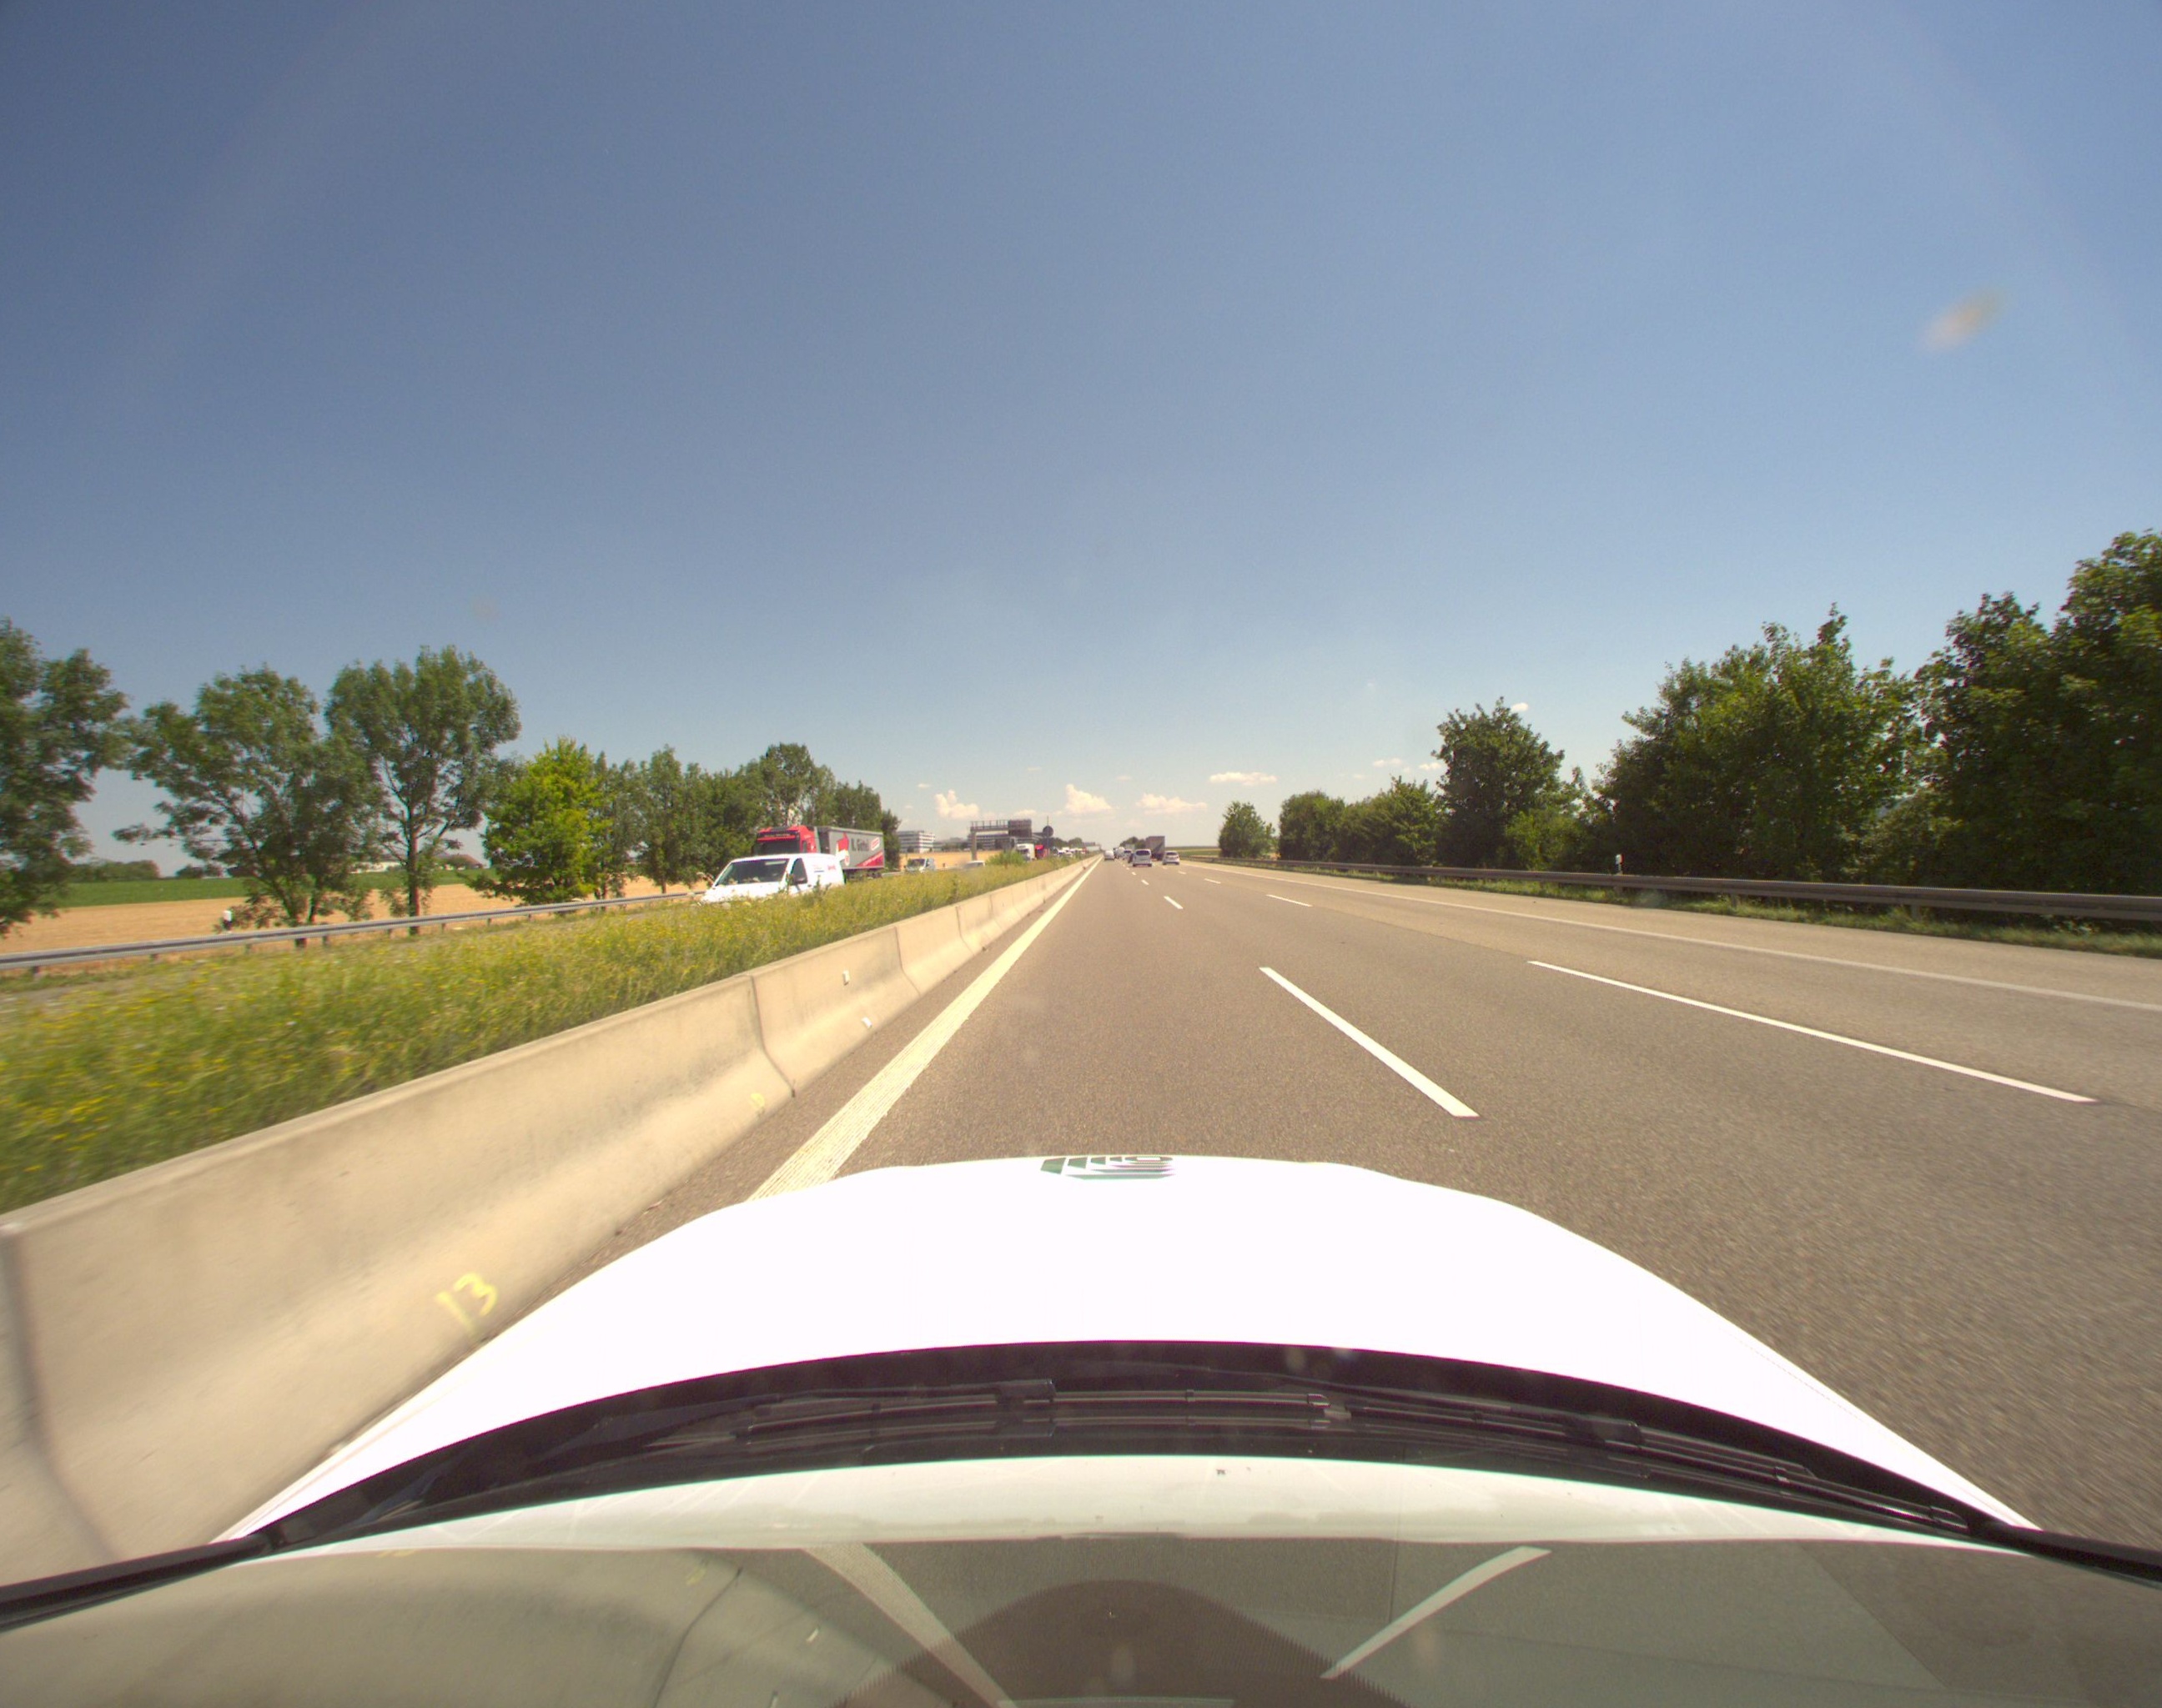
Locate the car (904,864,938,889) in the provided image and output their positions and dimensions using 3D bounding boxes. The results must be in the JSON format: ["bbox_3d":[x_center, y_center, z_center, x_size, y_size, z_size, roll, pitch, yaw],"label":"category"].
[{"bbox_3d":[-13.801,1.922,70.627,1.756,1.952,5.118,-4,0,1],"label":"car"}]

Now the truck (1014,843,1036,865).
[{"bbox_3d":[-11.358,-0.060,166.714,2.939,4.158,12.870,-3,0,1],"label":"truck"}]

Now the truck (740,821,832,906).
[{"bbox_3d":[-14.525,0.448,40.404,2.846,3.855,4.001,-3,0,1],"label":"truck"}]

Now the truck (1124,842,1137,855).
[{"bbox_3d":[15.706,-1.840,259.872,3.802,3.905,9.583,-2,0,2],"label":"truck"}]

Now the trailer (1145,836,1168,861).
[{"bbox_3d":[12.637,-0.818,136.659,3.265,3.967,9.115,-1,-1,2],"label":"trailer"}]

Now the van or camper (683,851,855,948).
[{"bbox_3d":[-7.233,0.946,19.576,1.986,1.933,5.202,-2,0,1],"label":"van or camper"}]

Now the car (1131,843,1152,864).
[{"bbox_3d":[6.465,-0.035,87.029,1.986,2.120,4.001,-1,-1,2],"label":"car"}]

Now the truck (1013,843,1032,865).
[{"bbox_3d":[-11.521,-0.032,160.439,2.939,4.158,5.472,-3,0,1],"label":"truck"}]

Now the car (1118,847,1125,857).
[{"bbox_3d":[10.547,-0.478,211.405,1.767,2.392,4.001,-1,-1,2],"label":"car"}]

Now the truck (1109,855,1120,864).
[{"bbox_3d":[7.284,1.162,177.964,2.204,2.013,4.972,-2,0,1],"label":"truck"}]

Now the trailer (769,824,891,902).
[{"bbox_3d":[-14.314,0.444,47.846,2.845,3.855,12.190,-3,0,2],"label":"trailer"}]

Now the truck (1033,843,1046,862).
[{"bbox_3d":[-10.344,-0.329,202.532,2.766,4.598,4.724,-2,0,1],"label":"truck"}]

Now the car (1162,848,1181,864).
[{"bbox_3d":[10.771,0.307,97.270,1.986,1.794,4.001,-1,-1,2],"label":"car"}]

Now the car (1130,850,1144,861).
[{"bbox_3d":[7.952,0.227,115.747,1.767,1.447,4.001,-1,-1,2],"label":"car"}]

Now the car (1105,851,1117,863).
[{"bbox_3d":[5.350,0.551,144.769,1.986,2.014,4.001,-1,-1,2],"label":"car"}]

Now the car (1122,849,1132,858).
[{"bbox_3d":[8.870,-0.085,158.037,1.767,1.447,4.001,-1,-1,2],"label":"car"}]

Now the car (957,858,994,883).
[{"bbox_3d":[-6.577,1.020,51.032,1.688,1.417,3.816,-2,0,1],"label":"car"}]
